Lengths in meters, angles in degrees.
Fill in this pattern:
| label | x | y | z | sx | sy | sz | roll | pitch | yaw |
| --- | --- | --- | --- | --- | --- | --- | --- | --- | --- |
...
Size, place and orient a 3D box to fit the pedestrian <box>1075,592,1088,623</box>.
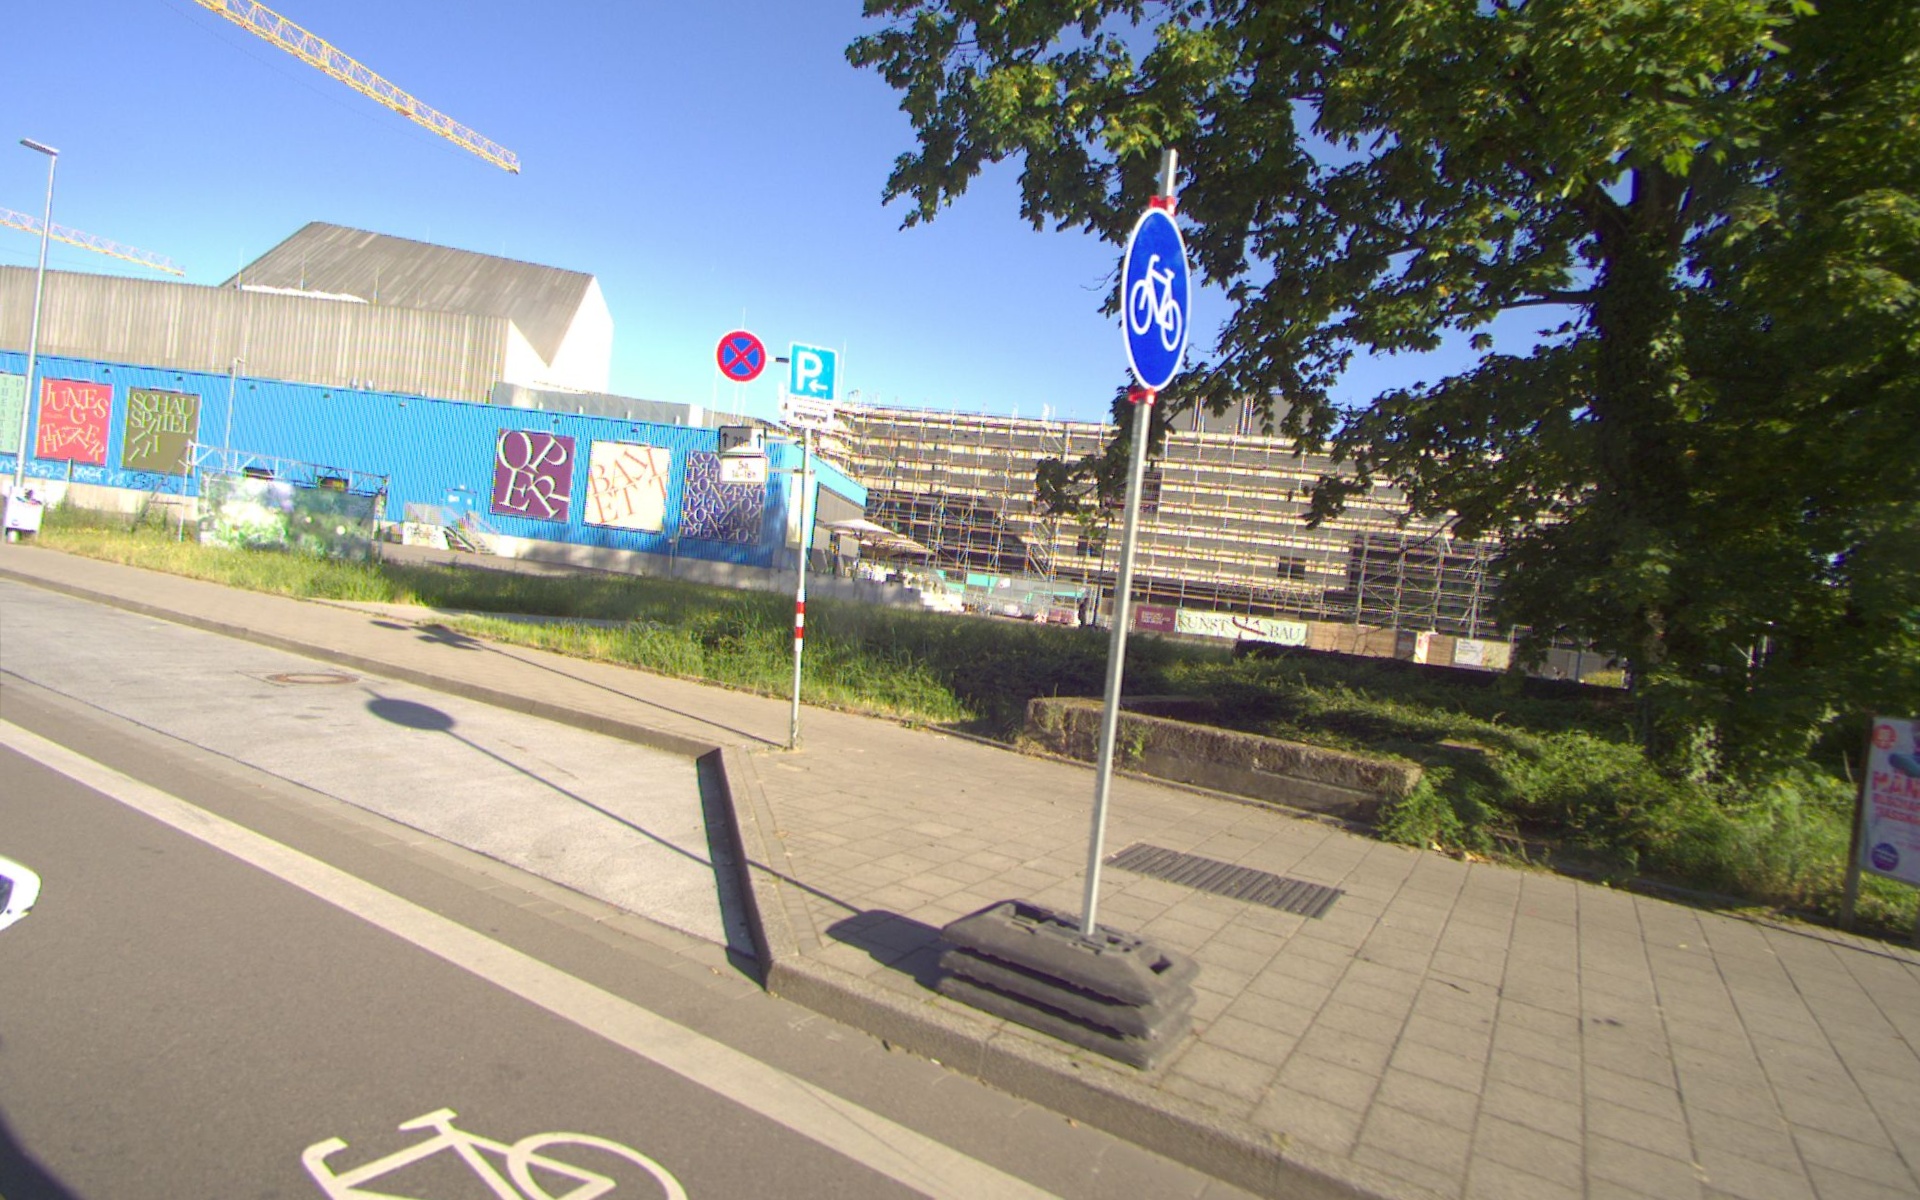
| label | x | y | z | sx | sy | sz | roll | pitch | yaw |
| --- | --- | --- | --- | --- | --- | --- | --- | --- | --- |
| pedestrian | 5.379 | 0.345 | 44.442 | 0.433 | 1.310 | 0.574 | 6 | -2 | 7 |
